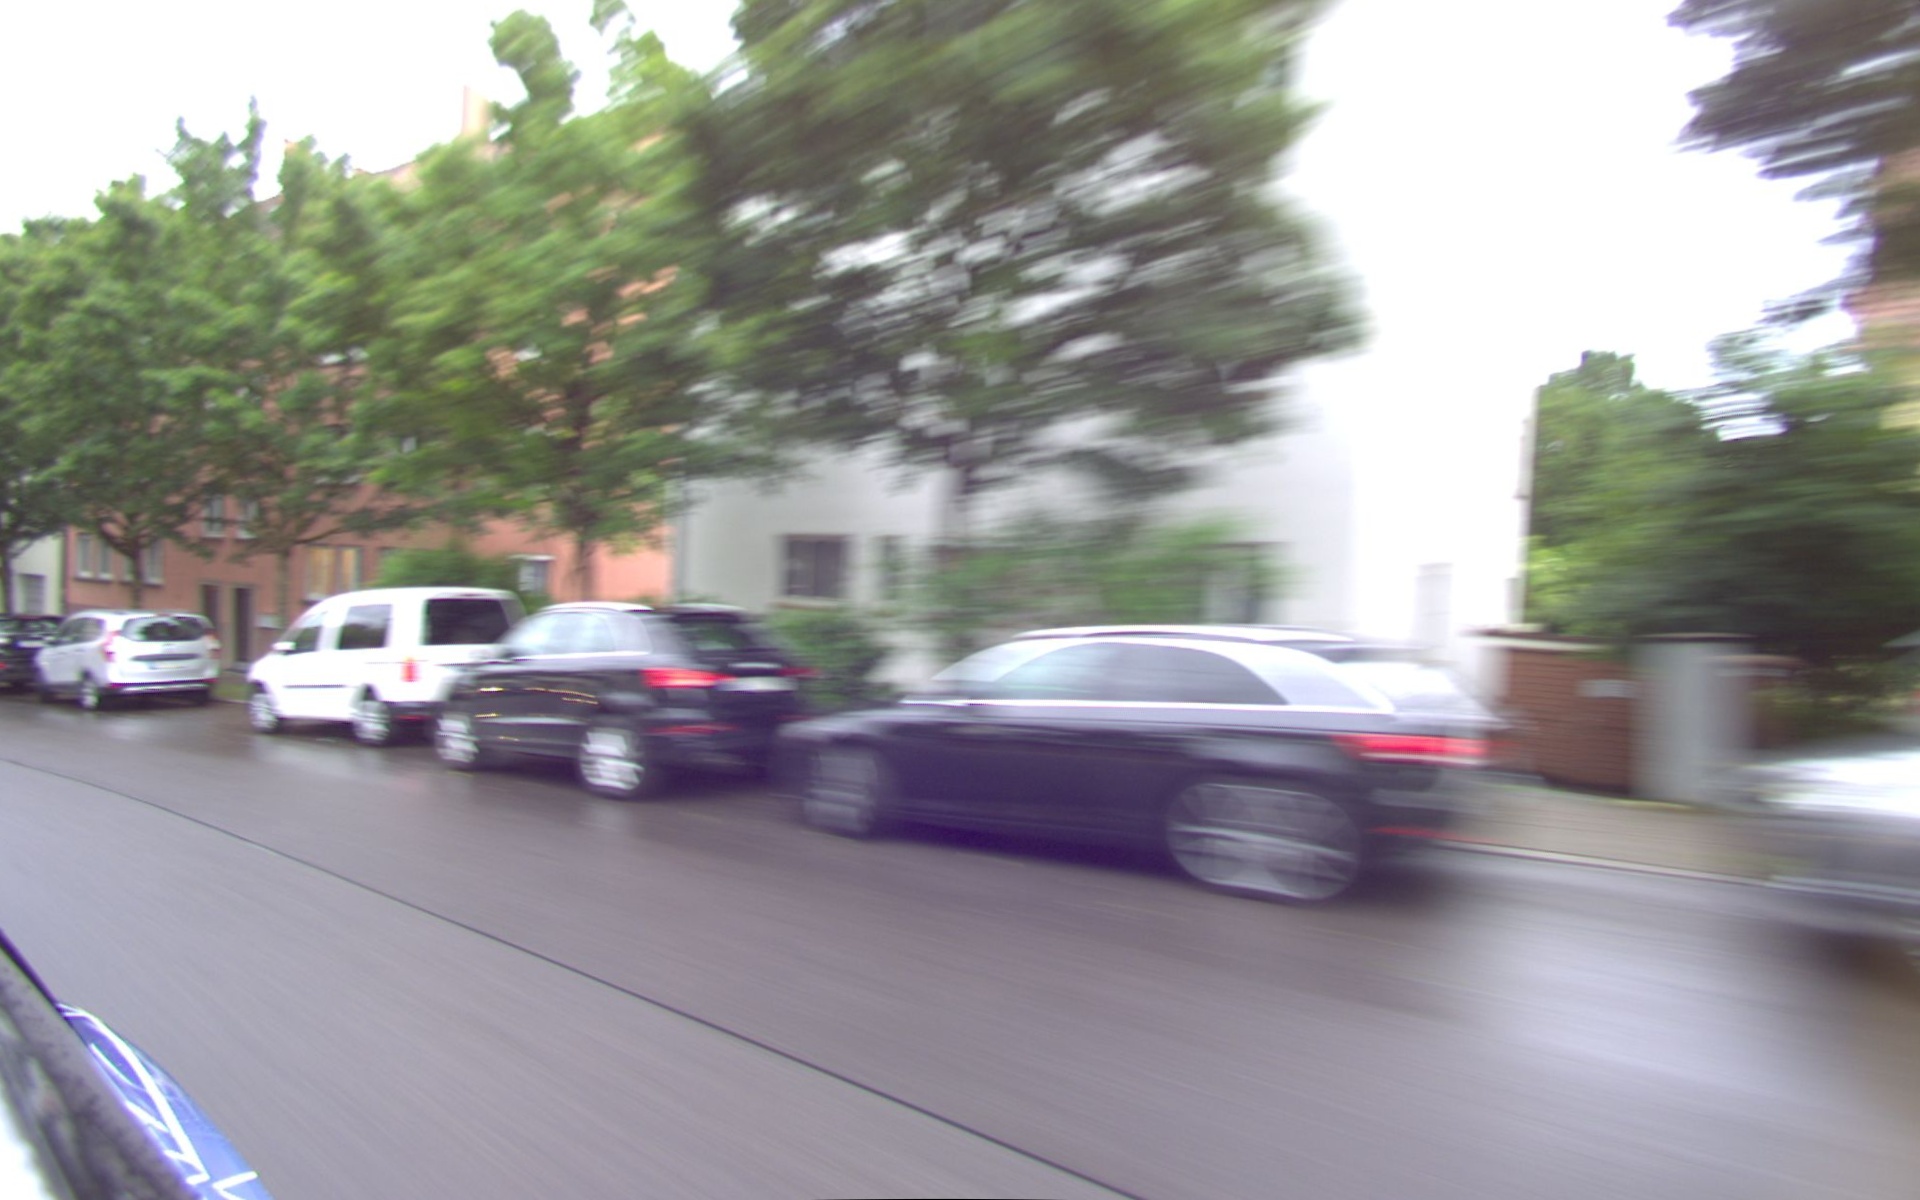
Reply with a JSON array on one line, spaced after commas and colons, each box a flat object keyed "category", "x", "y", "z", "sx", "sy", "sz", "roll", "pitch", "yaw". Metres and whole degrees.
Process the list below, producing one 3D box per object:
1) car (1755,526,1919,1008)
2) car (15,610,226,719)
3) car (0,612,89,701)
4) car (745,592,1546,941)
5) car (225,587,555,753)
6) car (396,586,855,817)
[{"category": "car", "x": 5.444, "y": 0.586, "z": 3.182, "sx": 4.547, "sy": 1.703, "sz": 1.837, "roll": -1, "pitch": -2, "yaw": 37}, {"category": "car", "x": -14.937, "y": 1.051, "z": 17.932, "sx": 4.589, "sy": 1.703, "sz": 1.732, "roll": -1, "pitch": -1, "yaw": 35}, {"category": "car", "x": -20.161, "y": 1.134, "z": 20.946, "sx": 4.461, "sy": 1.653, "sz": 1.776, "roll": -1, "pitch": 1, "yaw": 29}, {"category": "car", "x": 0.963, "y": 0.772, "z": 6.489, "sx": 4.728, "sy": 1.510, "sz": 1.839, "roll": -1, "pitch": -1, "yaw": 34}, {"category": "car", "x": -7.372, "y": 0.808, "z": 12.966, "sx": 4.469, "sy": 1.790, "sz": 1.839, "roll": -1, "pitch": -2, "yaw": 33}, {"category": "car", "x": -3.286, "y": 0.779, "z": 9.496, "sx": 4.580, "sy": 1.680, "sz": 1.837, "roll": -1, "pitch": -1, "yaw": 37}]
